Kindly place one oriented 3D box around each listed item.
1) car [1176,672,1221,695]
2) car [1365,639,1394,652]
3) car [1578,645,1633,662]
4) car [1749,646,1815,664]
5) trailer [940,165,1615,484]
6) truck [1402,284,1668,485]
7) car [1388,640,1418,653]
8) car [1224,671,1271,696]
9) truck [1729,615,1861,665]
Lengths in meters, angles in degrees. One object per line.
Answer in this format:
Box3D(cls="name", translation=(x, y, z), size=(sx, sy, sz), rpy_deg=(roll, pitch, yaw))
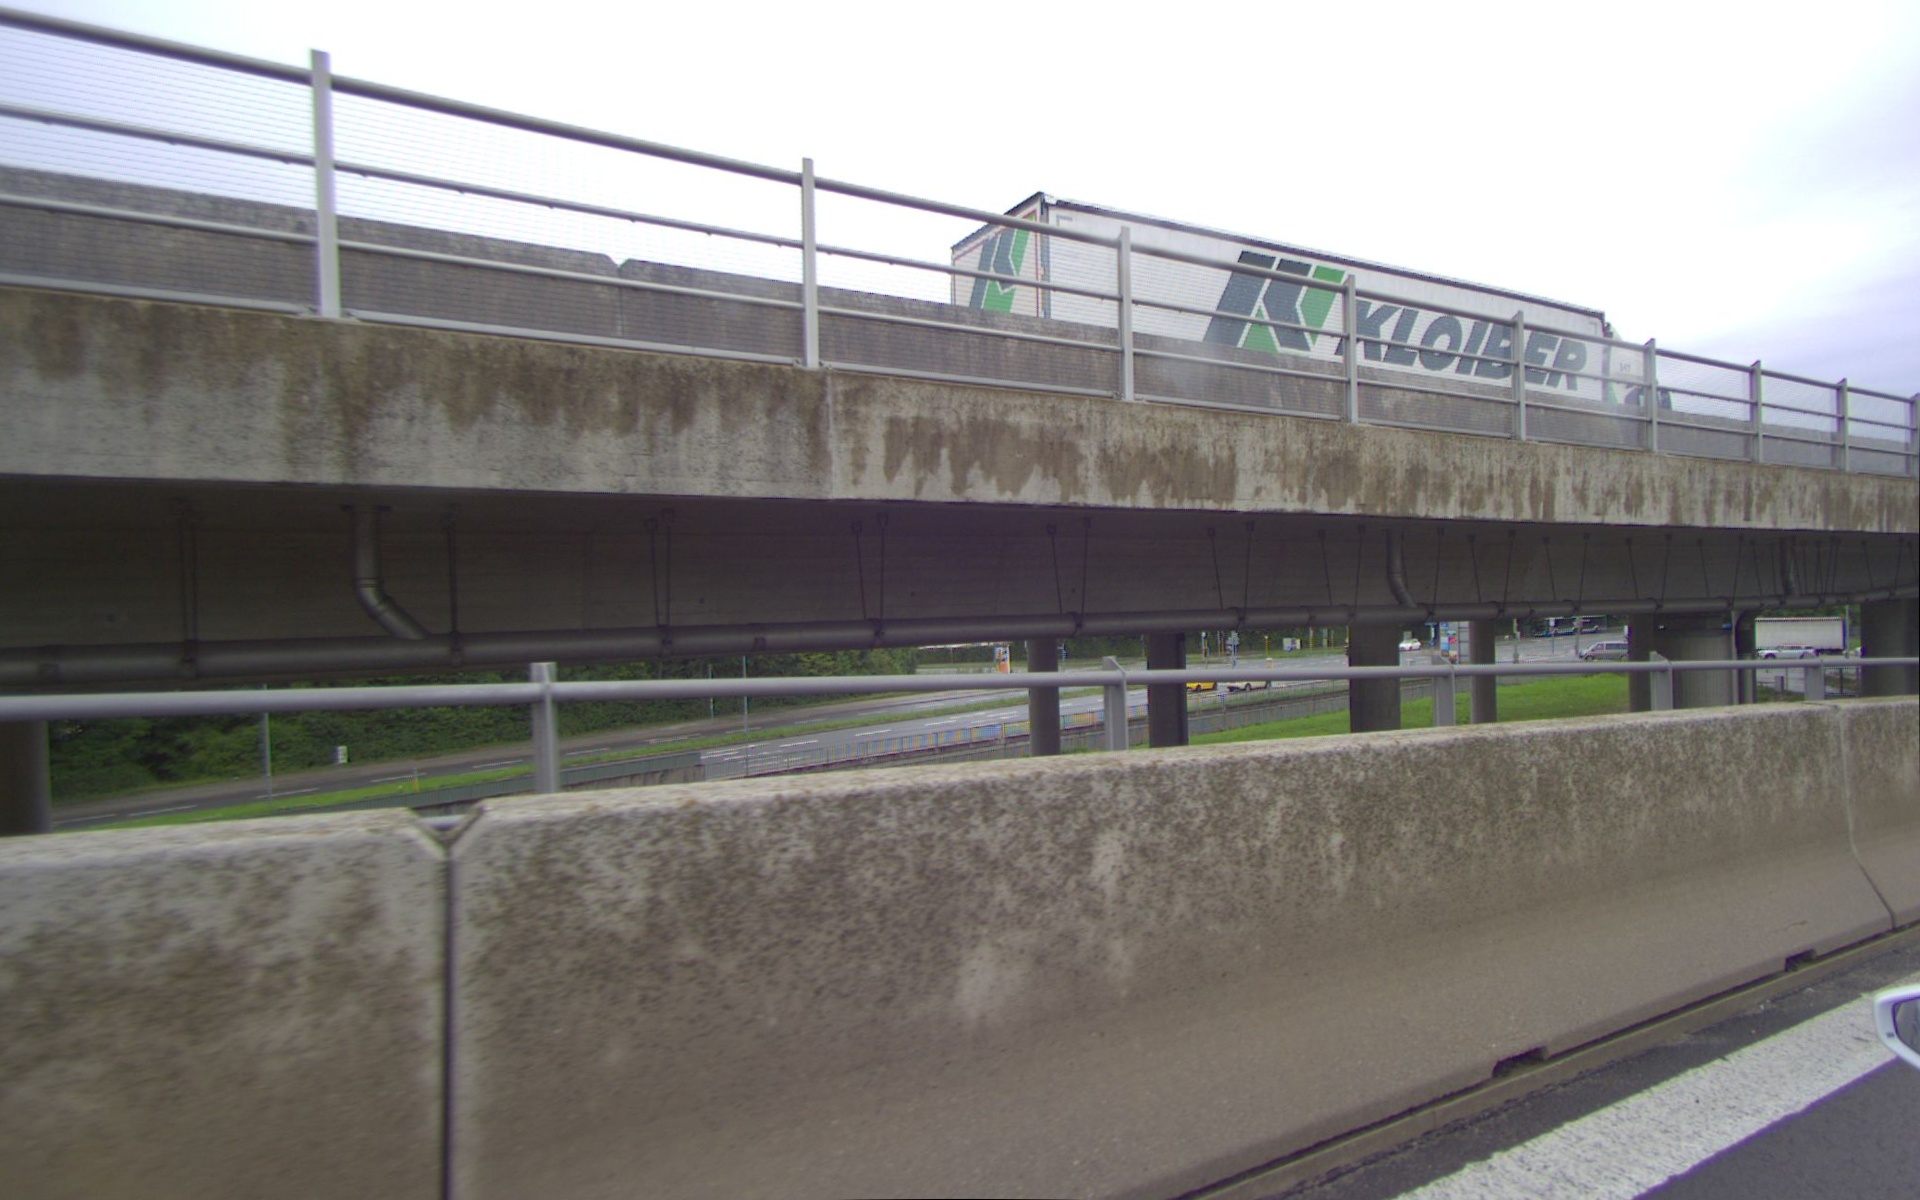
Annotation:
Box3D(cls="car", translation=(21.594, 7.548, 90.800), size=(3.960, 1.640, 1.830), rpy_deg=(-1, 3, -36))
Box3D(cls="car", translation=(56.917, 6.180, 136.328), size=(3.957, 1.583, 1.783), rpy_deg=(0, -2, -33))
Box3D(cls="car", translation=(66.027, 5.460, 102.860), size=(4.505, 1.627, 1.973), rpy_deg=(0, -1, 26))
Box3D(cls="car", translation=(78.613, 5.226, 96.154), size=(4.506, 1.604, 1.973), rpy_deg=(0, -2, 27))
Box3D(cls="trailer", translation=(6.368, -4.119, 17.702), size=(13.890, 3.342, 2.645), rpy_deg=(-1, 1, -30))
Box3D(cls="truck", translation=(12.003, -4.245, 20.942), size=(5.131, 3.290, 2.577), rpy_deg=(-2, 2, -29))
Box3D(cls="car", translation=(58.591, 6.154, 132.856), size=(3.957, 1.728, 1.783), rpy_deg=(0, -2, -33))
Box3D(cls="car", translation=(25.586, 7.379, 89.348), size=(4.322, 1.773, 1.792), rpy_deg=(-1, 3, -36))
Box3D(cls="truck", translation=(81.317, 3.834, 98.087), size=(9.427, 4.652, 2.795), rpy_deg=(-1, -1, 29))
